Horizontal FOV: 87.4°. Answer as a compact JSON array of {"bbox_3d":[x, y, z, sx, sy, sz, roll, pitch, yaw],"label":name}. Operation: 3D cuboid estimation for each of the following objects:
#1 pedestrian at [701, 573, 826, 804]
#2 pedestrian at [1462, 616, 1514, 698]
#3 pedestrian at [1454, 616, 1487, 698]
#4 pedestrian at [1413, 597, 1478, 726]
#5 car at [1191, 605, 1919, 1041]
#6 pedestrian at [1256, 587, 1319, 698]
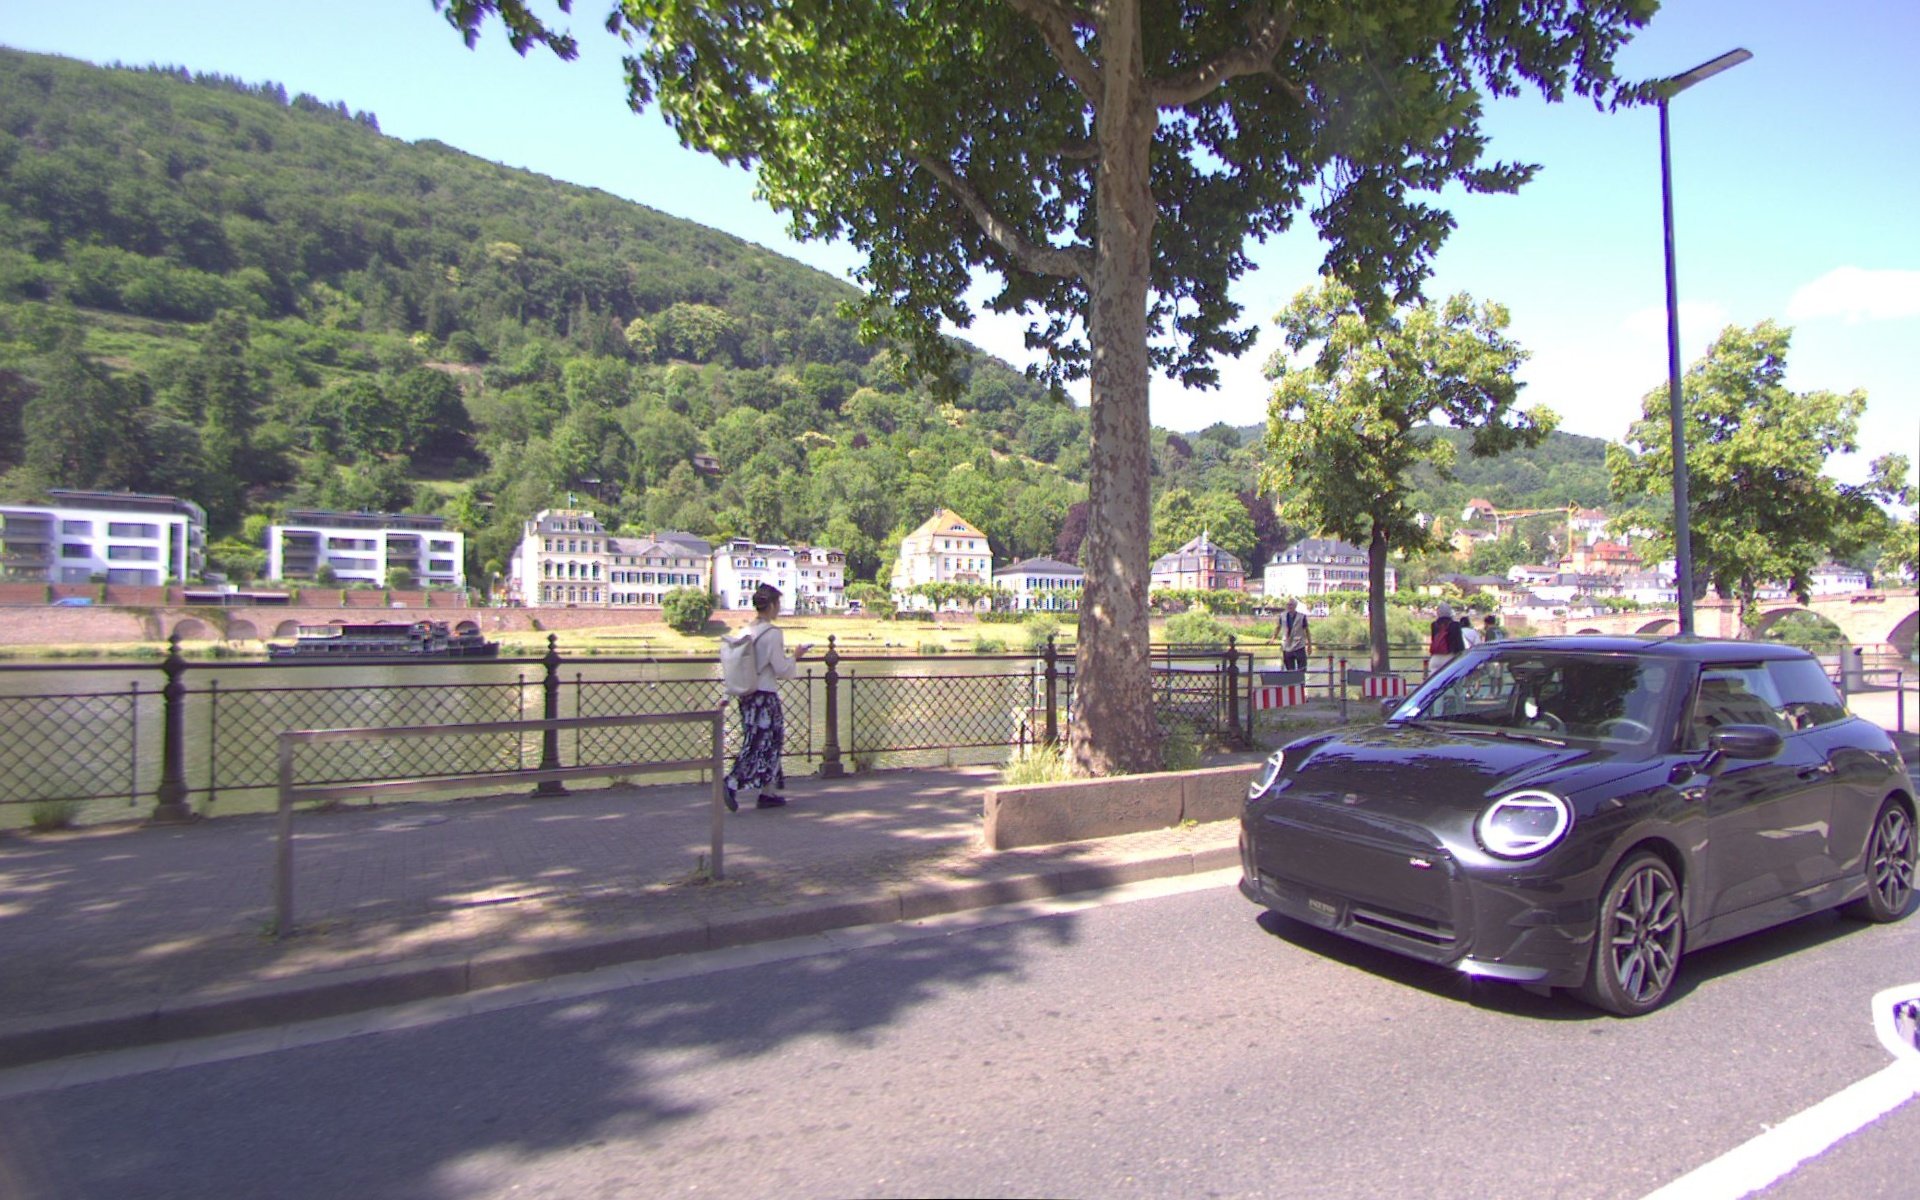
[{"bbox_3d":[-1.472,0.629,7.492,0.688,1.607,0.758,1,-2,-31],"label":"pedestrian"},{"bbox_3d":[10.795,1.154,20.540,0.654,1.637,0.692,1,-1,-23],"label":"pedestrian"},{"bbox_3d":[10.316,1.144,20.288,0.444,1.618,0.413,1,-1,-23],"label":"pedestrian"},{"bbox_3d":[6.769,0.830,13.994,0.647,1.705,0.756,2,1,35],"label":"pedestrian"},{"bbox_3d":[3.246,0.830,5.168,3.955,1.477,1.693,2,-2,-31],"label":"car"},{"bbox_3d":[5.994,0.778,18.386,0.877,1.970,0.690,1,-2,-31],"label":"pedestrian"}]
